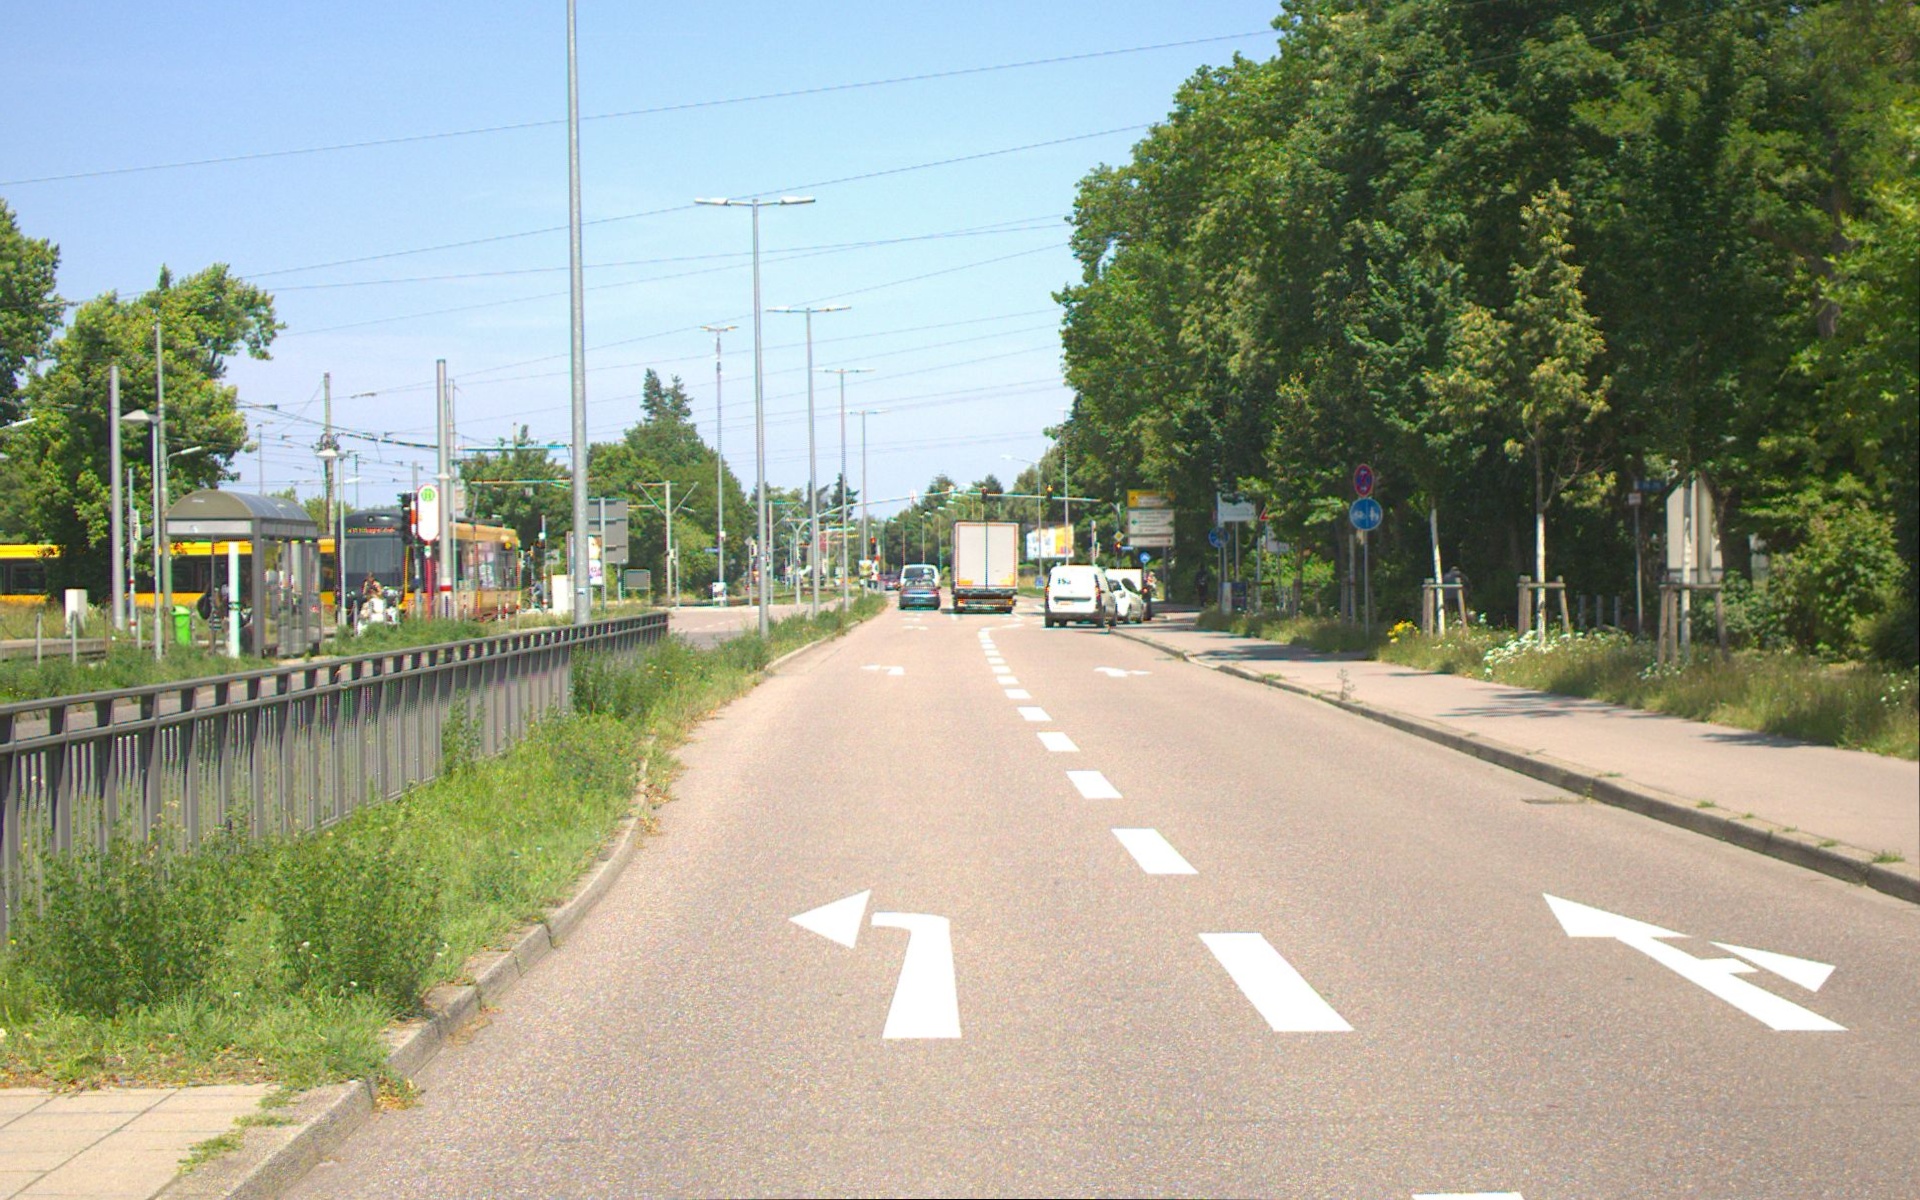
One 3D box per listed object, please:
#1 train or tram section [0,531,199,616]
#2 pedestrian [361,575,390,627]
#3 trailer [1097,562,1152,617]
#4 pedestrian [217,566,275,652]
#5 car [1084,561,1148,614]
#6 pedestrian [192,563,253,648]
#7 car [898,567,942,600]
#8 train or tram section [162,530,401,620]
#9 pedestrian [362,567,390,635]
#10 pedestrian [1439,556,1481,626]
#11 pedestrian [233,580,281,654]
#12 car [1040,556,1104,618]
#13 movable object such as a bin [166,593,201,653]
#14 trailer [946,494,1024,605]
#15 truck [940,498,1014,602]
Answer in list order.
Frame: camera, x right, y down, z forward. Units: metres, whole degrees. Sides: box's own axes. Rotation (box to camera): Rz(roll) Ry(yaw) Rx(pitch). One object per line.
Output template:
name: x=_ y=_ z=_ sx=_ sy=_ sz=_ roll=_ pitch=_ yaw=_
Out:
train or tram section: x=-39.325 y=-1.172 z=146.270 sx=13.223 sy=3.454 sz=3.046 roll=1 pitch=1 yaw=3
pedestrian: x=-13.369 y=0.017 z=78.616 sx=0.580 sy=1.185 sz=0.536 roll=1 pitch=1 yaw=-4
trailer: x=5.103 y=-0.335 z=106.916 sx=1.468 sy=1.663 sz=2.856 roll=1 pitch=1 yaw=-2
pedestrian: x=-13.033 y=0.156 z=62.788 sx=0.874 sy=1.541 sz=1.026 roll=1 pitch=1 yaw=-2
car: x=4.989 y=-0.409 z=110.557 sx=1.699 sy=1.648 sz=4.399 roll=1 pitch=1 yaw=-2
pedestrian: x=-13.707 y=0.098 z=63.918 sx=0.930 sy=1.541 sz=0.985 roll=1 pitch=1 yaw=-2
car: x=-1.787 y=-0.757 z=152.999 sx=1.892 sy=1.367 sz=4.430 roll=2 pitch=1 yaw=-1
train or tram section: x=-27.846 y=-1.068 z=140.438 sx=3.038 sy=3.454 sz=12.743 roll=0 pitch=1 yaw=-45
pedestrian: x=-13.588 y=0.018 z=80.005 sx=0.534 sy=1.560 sz=0.582 roll=1 pitch=1 yaw=-2
pedestrian: x=10.070 y=-0.192 z=69.272 sx=0.708 sy=1.393 sz=0.763 roll=1 pitch=1 yaw=1
pedestrian: x=-12.500 y=0.297 z=61.169 sx=0.701 sy=1.279 sz=0.840 roll=1 pitch=1 yaw=-2
car: x=3.295 y=-0.389 z=100.433 sx=1.710 sy=1.741 sz=4.427 roll=1 pitch=1 yaw=3
movable object such as a bin: x=-12.952 y=0.383 z=57.348 sx=0.481 sy=0.974 sz=0.645 roll=-1 pitch=0 yaw=-4
trailer: x=0.974 y=-2.067 z=141.993 sx=2.827 sy=4.406 sz=8.750 roll=1 pitch=1 yaw=-2
truck: x=0.719 y=-2.221 z=150.445 sx=2.827 sy=4.329 sz=8.285 roll=1 pitch=1 yaw=-2
